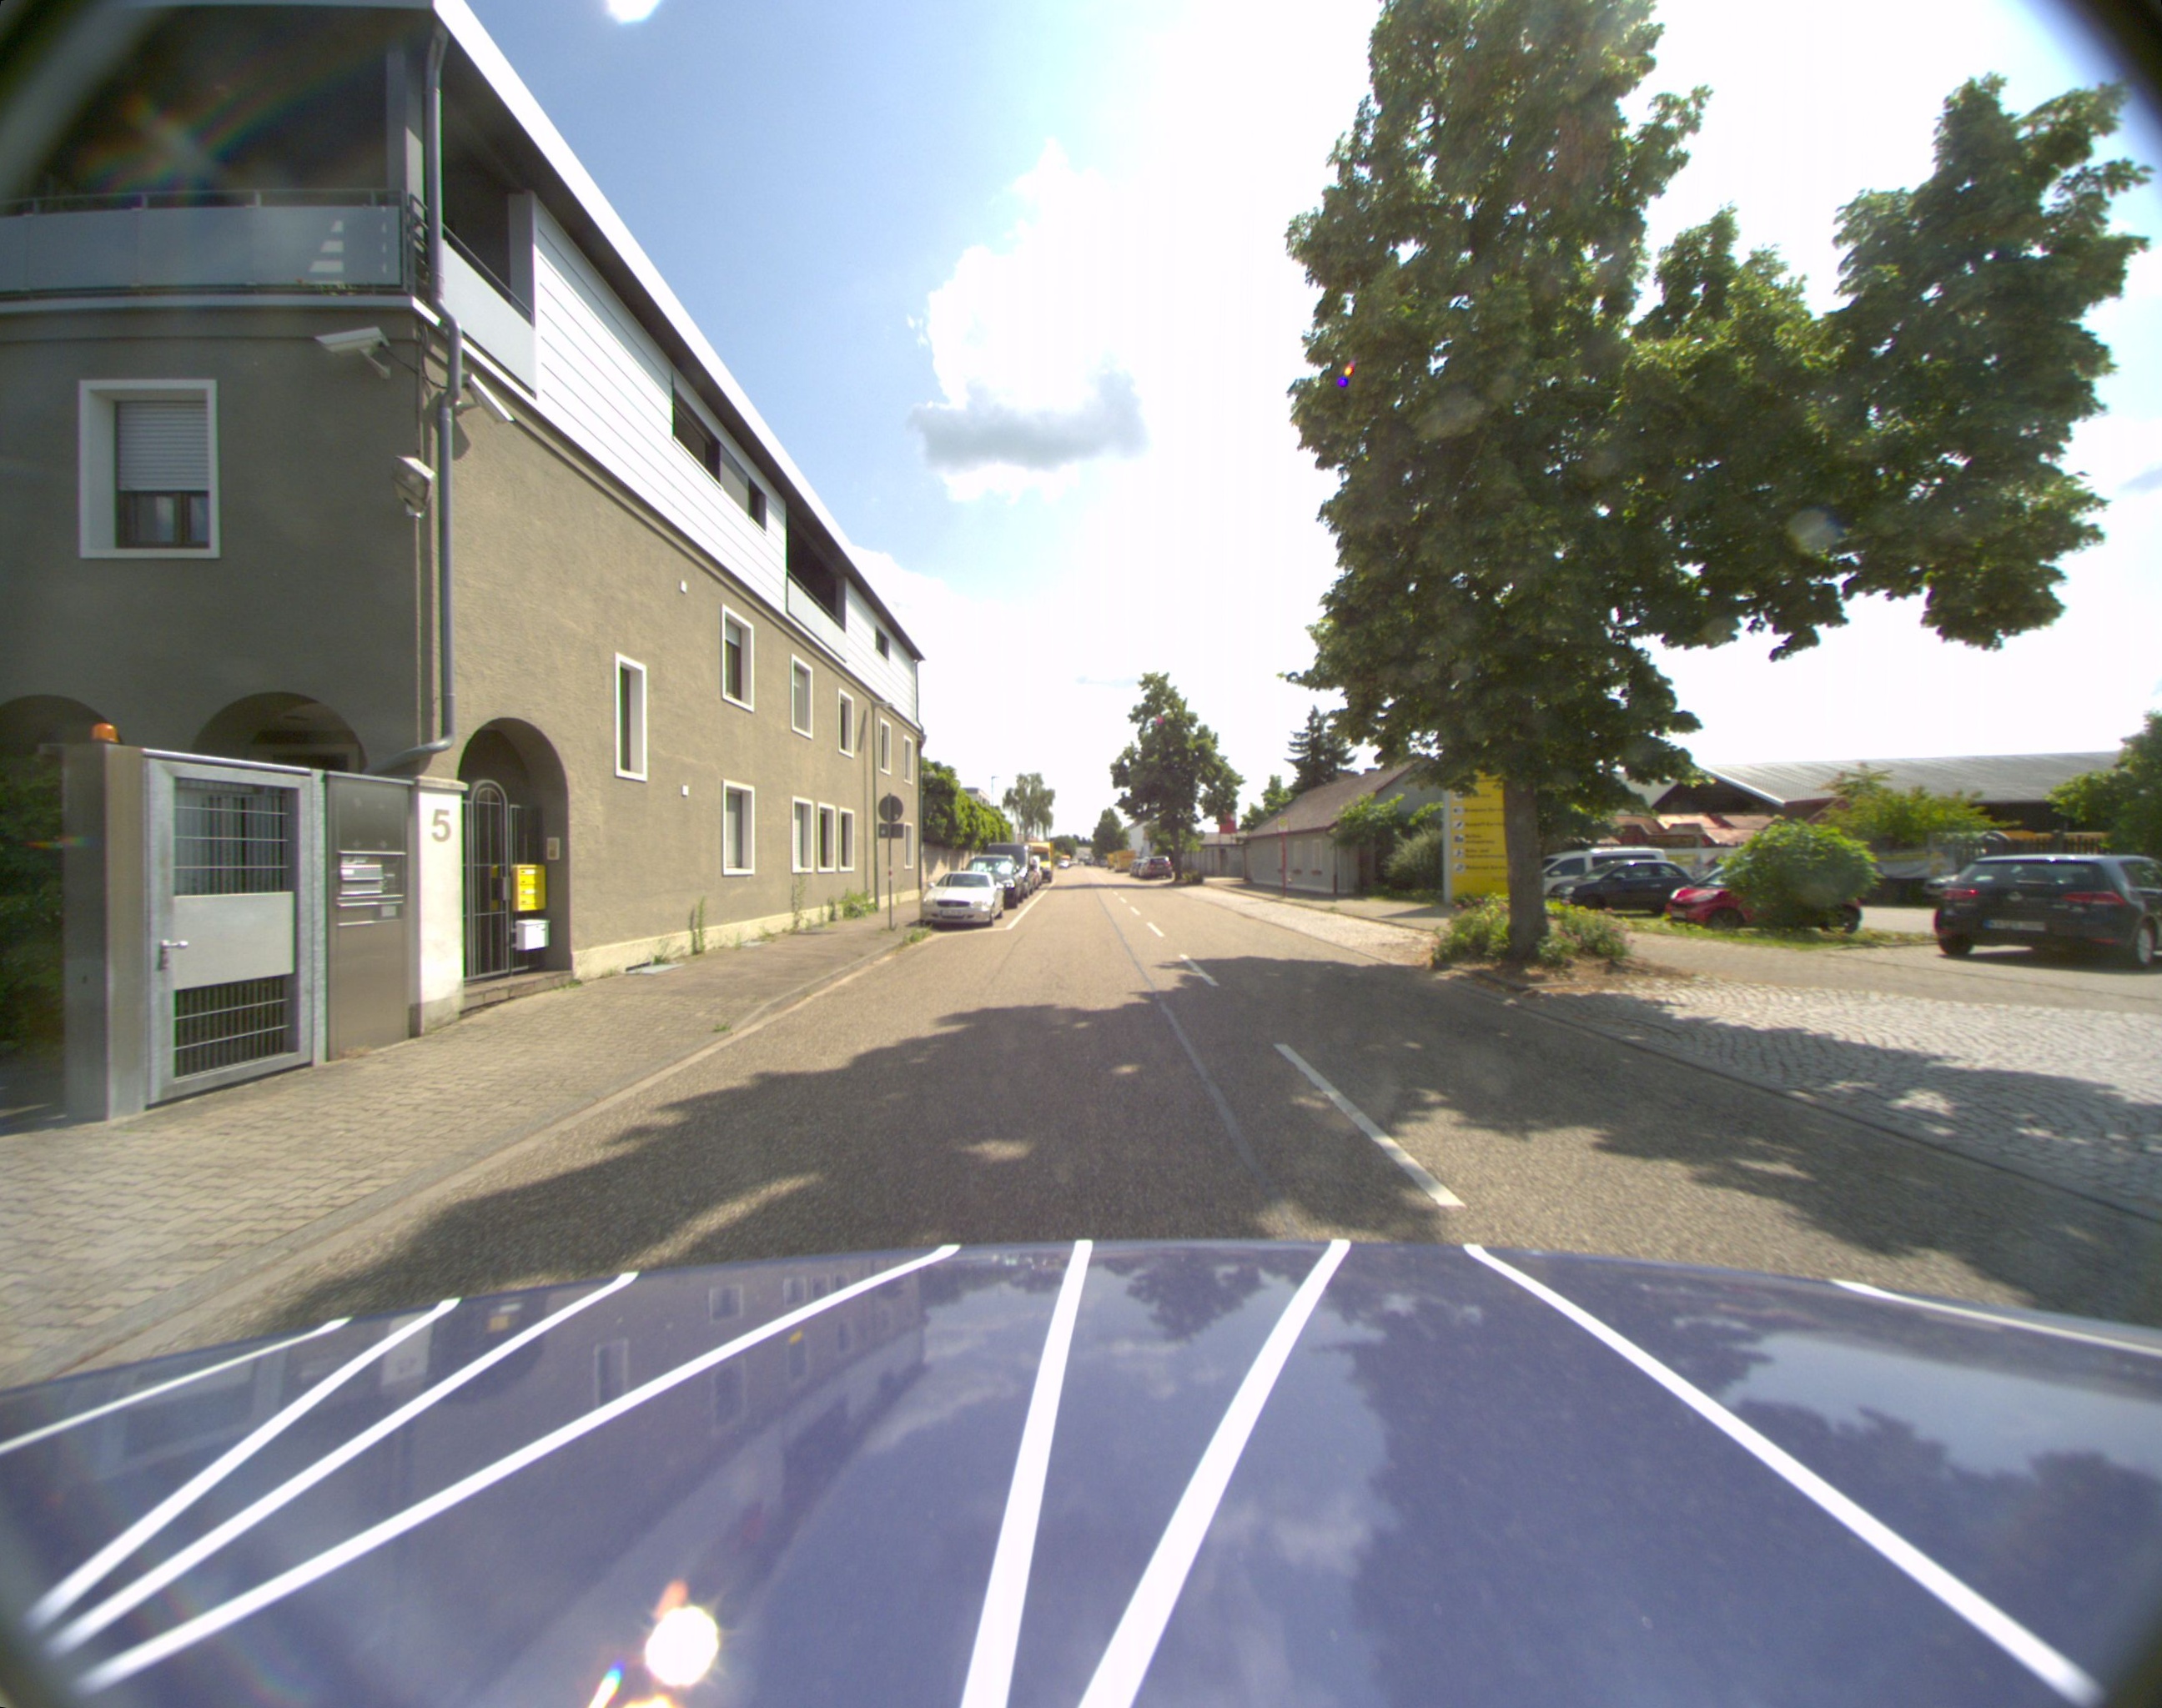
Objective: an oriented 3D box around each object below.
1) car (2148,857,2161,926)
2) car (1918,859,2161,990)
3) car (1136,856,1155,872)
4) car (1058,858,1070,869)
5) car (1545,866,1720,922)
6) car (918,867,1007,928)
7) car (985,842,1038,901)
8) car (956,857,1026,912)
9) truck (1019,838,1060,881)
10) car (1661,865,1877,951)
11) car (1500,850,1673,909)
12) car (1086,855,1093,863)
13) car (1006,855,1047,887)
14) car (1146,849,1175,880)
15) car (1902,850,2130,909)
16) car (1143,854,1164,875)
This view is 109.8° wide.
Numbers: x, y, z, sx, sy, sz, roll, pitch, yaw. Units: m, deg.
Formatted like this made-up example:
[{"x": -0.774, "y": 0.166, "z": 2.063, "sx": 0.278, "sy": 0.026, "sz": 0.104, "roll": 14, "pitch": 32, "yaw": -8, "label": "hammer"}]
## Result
[{"x": 25.080, "y": 0.819, "z": 15.198, "sx": 4.276, "sy": 1.474, "sz": 1.672, "roll": 0, "pitch": 1, "yaw": 13, "label": "car"}, {"x": 13.758, "y": 0.829, "z": 10.443, "sx": 3.848, "sy": 1.405, "sz": 1.856, "roll": -2, "pitch": 1, "yaw": -23, "label": "car"}, {"x": 5.980, "y": 0.929, "z": 69.798, "sx": 1.655, "sy": 1.432, "sz": 3.314, "roll": -1, "pitch": 0, "yaw": 6, "label": "car"}, {"x": -3.273, "y": 1.794, "z": 145.203, "sx": 1.998, "sy": 2.002, "sz": 4.000, "roll": -1, "pitch": 0, "yaw": 1, "label": "car"}, {"x": 14.535, "y": 1.057, "z": 20.183, "sx": 3.550, "sy": 1.375, "sz": 1.237, "roll": -2, "pitch": 1, "yaw": 13, "label": "car"}, {"x": -2.890, "y": 1.023, "z": 19.281, "sx": 1.657, "sy": 1.324, "sz": 4.000, "roll": -1, "pitch": 0, "yaw": -1, "label": "car"}, {"x": -2.857, "y": 0.713, "z": 32.115, "sx": 1.999, "sy": 2.289, "sz": 4.413, "roll": 0, "pitch": -1, "yaw": -2, "label": "car"}, {"x": -2.948, "y": 0.964, "z": 25.754, "sx": 1.999, "sy": 1.677, "sz": 3.999, "roll": -1, "pitch": 0, "yaw": -2, "label": "car"}, {"x": -2.803, "y": 0.357, "z": 52.881, "sx": 2.402, "sy": 2.787, "sz": 6.375, "roll": -1, "pitch": 0, "yaw": 1, "label": "truck"}, {"x": 13.567, "y": 1.033, "z": 15.167, "sx": 2.778, "sy": 1.535, "sz": 1.593, "roll": -1, "pitch": 1, "yaw": 18, "label": "car"}, {"x": 15.344, "y": 0.770, "z": 23.249, "sx": 4.093, "sy": 1.703, "sz": 1.680, "roll": -1, "pitch": 0, "yaw": 8, "label": "car"}, {"x": 2.247, "y": 1.347, "z": 198.472, "sx": 1.998, "sy": 2.002, "sz": 4.000, "roll": -1, "pitch": 0, "yaw": 1, "label": "car"}, {"x": -3.089, "y": 0.959, "z": 43.974, "sx": 1.998, "sy": 1.672, "sz": 4.000, "roll": -2, "pitch": 0, "yaw": 1, "label": "car"}, {"x": 6.212, "y": 0.812, "z": 58.865, "sx": 1.997, "sy": 2.289, "sz": 4.003, "roll": -1, "pitch": 0, "yaw": 9, "label": "car"}, {"x": 26.629, "y": 0.708, "z": 21.770, "sx": 3.995, "sy": 1.600, "sz": 1.851, "roll": -1, "pitch": 0, "yaw": 5, "label": "car"}, {"x": 6.052, "y": 0.845, "z": 63.186, "sx": 1.655, "sy": 1.685, "sz": 3.314, "roll": -1, "pitch": 0, "yaw": 6, "label": "car"}]
